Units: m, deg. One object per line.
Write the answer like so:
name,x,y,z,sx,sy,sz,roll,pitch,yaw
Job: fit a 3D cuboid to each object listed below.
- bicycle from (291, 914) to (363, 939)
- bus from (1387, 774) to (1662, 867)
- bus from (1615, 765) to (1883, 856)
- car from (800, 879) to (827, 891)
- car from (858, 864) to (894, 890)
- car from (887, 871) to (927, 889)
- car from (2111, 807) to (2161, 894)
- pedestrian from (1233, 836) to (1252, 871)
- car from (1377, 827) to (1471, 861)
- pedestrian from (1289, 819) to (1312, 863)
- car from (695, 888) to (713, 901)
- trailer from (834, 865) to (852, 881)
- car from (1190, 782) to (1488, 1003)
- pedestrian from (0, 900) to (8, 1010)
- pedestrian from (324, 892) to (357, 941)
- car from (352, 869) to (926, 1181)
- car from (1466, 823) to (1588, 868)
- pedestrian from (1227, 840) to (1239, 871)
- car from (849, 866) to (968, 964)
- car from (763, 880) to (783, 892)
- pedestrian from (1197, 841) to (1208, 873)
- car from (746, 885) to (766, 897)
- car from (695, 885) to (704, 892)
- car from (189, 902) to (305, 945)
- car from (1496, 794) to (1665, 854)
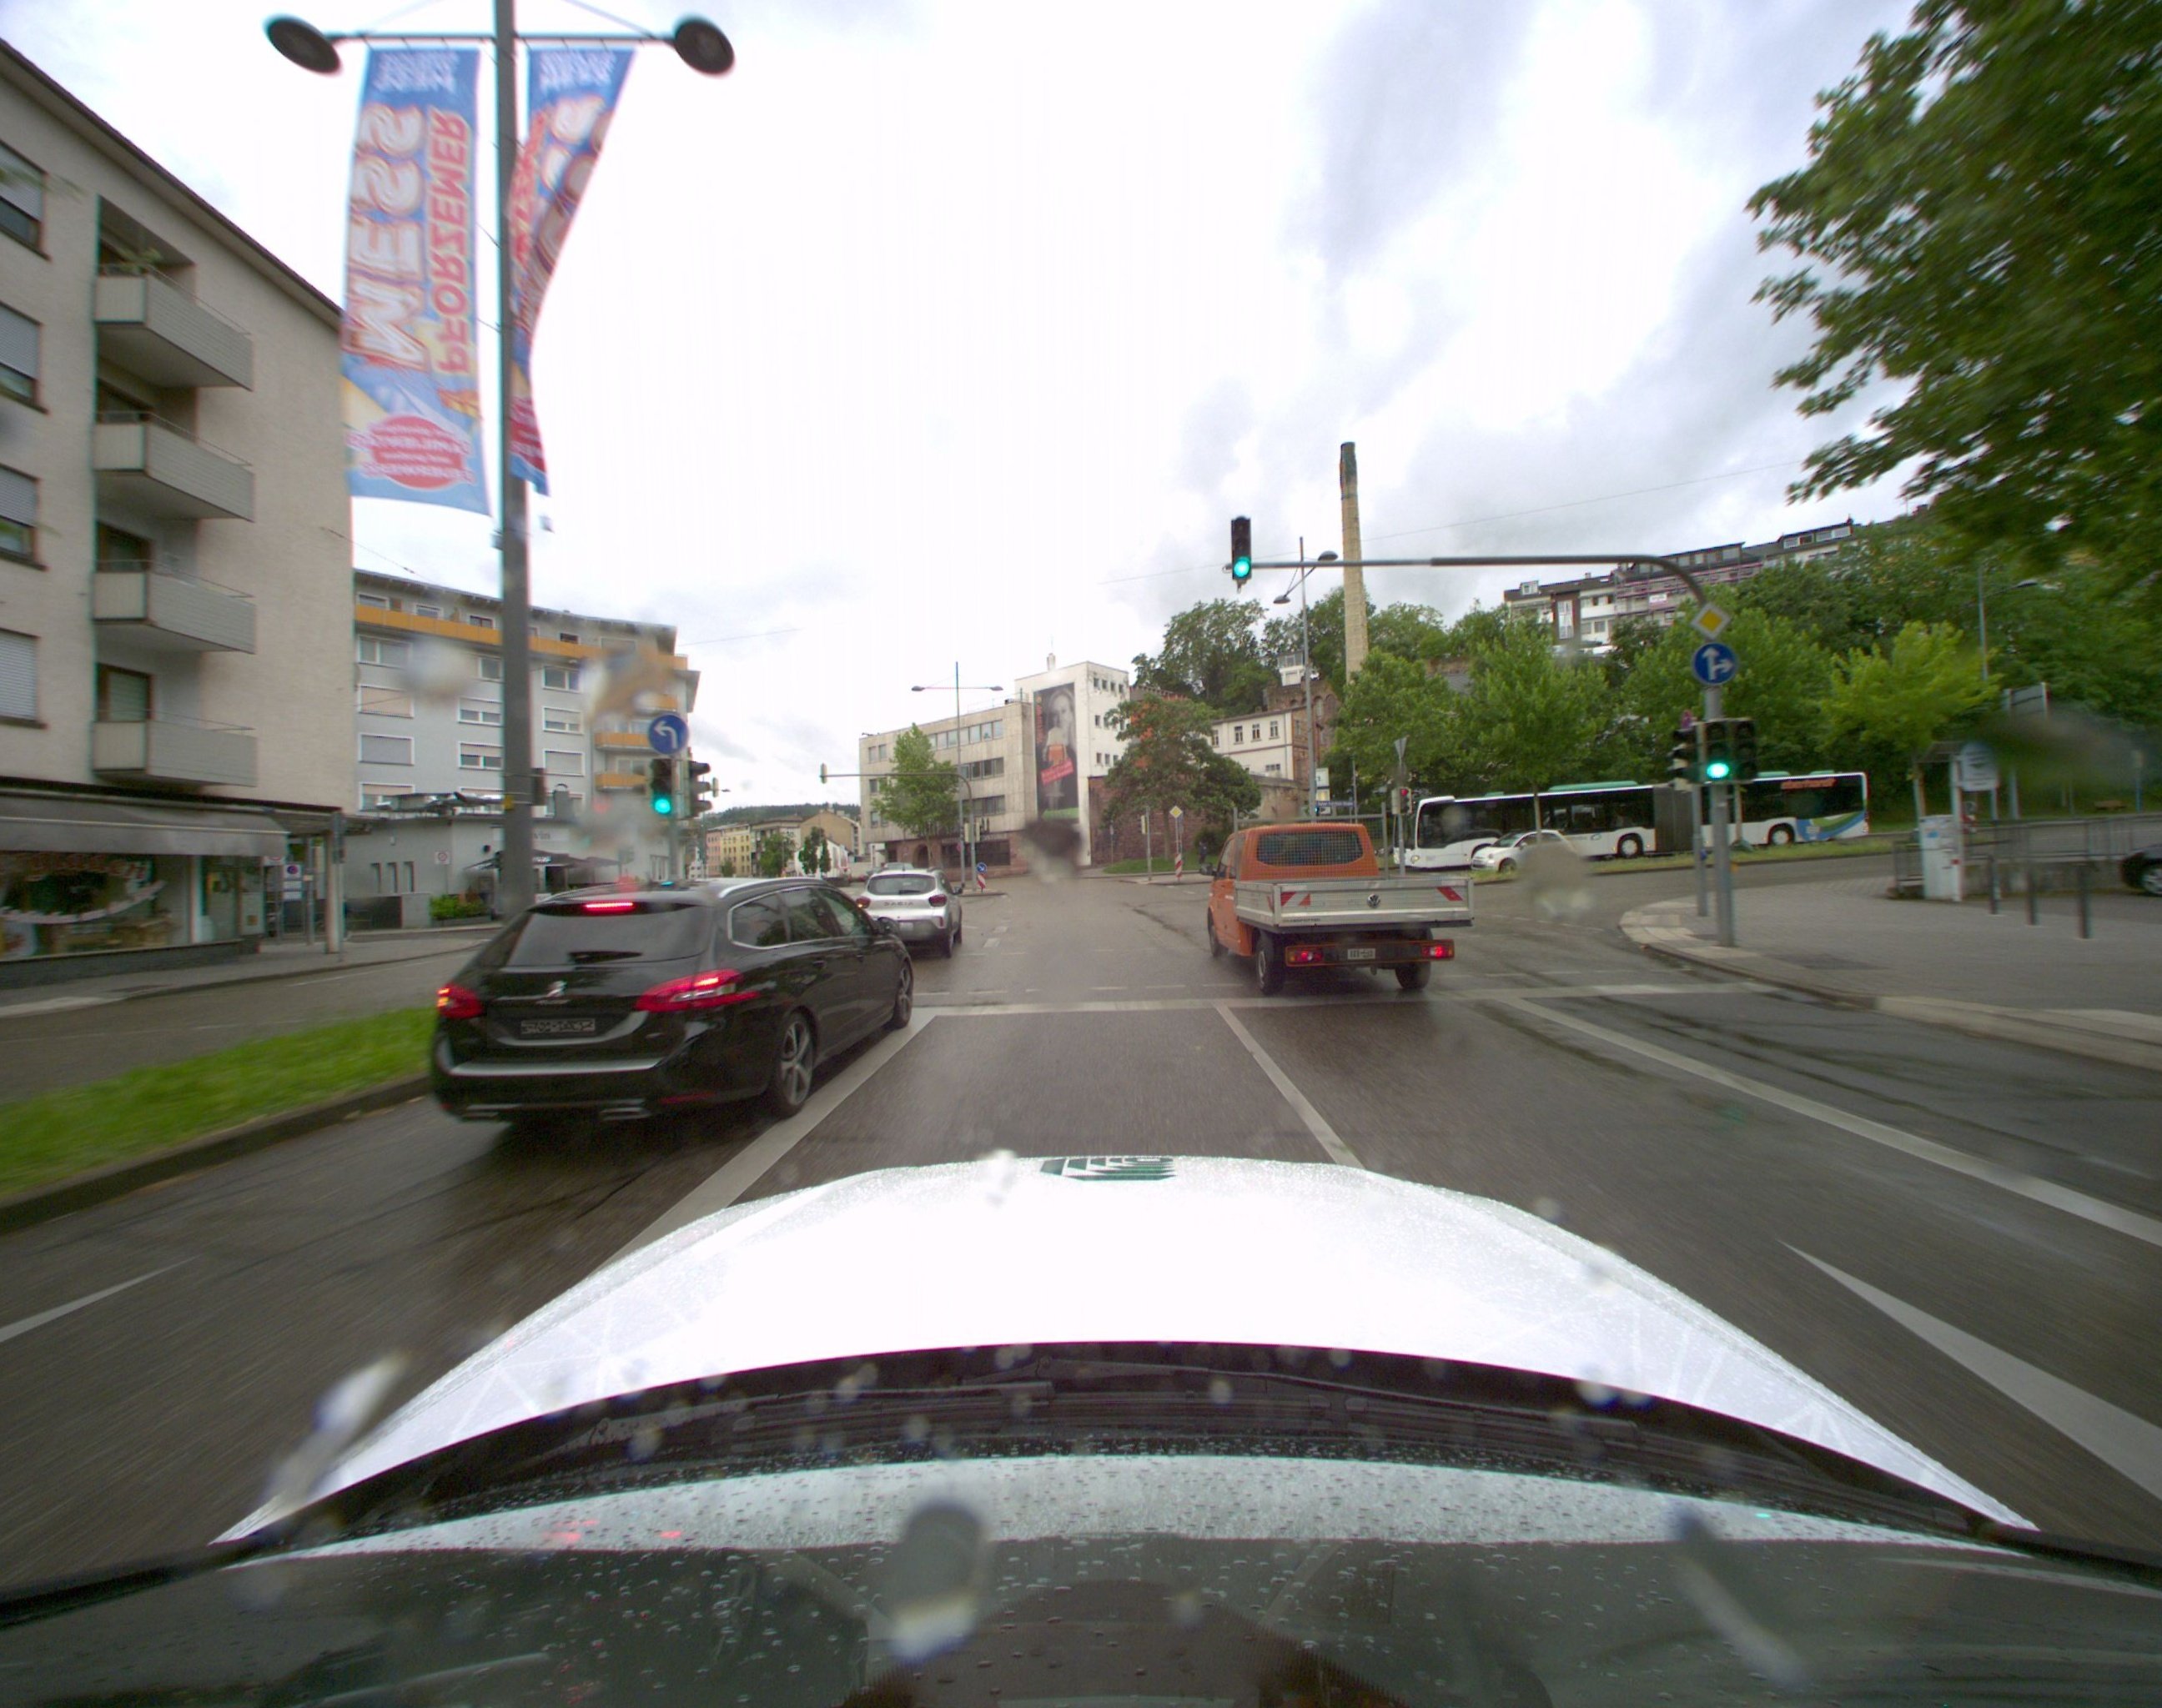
bicycle,-30.950,2.974,33.474,0.613,0.809,2.218,-3,0,11
bus,17.670,-1.327,32.878,9.596,3.216,2.705,-2,1,0
bus,26.702,-1.690,32.857,8.501,3.180,2.689,-2,1,1
car,-32.382,3.702,98.497,1.680,1.396,3.819,-1,0,-43
car,-13.935,1.567,55.213,1.762,1.614,4.180,-3,0,-22
car,-14.412,2.175,67.182,1.802,1.403,4.586,0,-2,-32
car,21.035,-0.120,13.756,1.795,1.613,4.259,-3,0,-2
pedestrian,8.463,-0.017,42.664,0.876,1.831,0.729,-1,-2,3
car,16.697,-0.465,39.873,4.050,1.374,1.804,-4,-1,18
pedestrian,10.433,-0.611,38.658,0.777,2.013,0.592,-4,0,37
car,-44.301,4.807,95.707,1.738,1.366,4.074,-2,-3,-26
trailer,-42.912,3.458,146.658,2.138,2.716,5.345,-4,0,-26
car,2.857,0.435,10.612,2.095,2.089,5.540,-1,-2,0
pedestrian,-17.217,1.581,12.604,0.450,1.731,0.524,1,-1,1
pedestrian,-25.652,2.169,28.221,0.523,1.651,0.604,-2,-4,10
car,-2.513,0.864,6.053,1.793,1.434,4.396,-1,-2,1
car,16.109,-0.300,29.517,3.547,1.451,1.589,-2,1,-1
pedestrian,7.963,0.086,42.673,0.563,1.616,0.692,0,-2,4
car,-2.947,0.974,14.531,1.534,1.461,3.624,-2,-1,-4
car,-41.627,4.289,110.061,1.676,1.396,3.827,-2,0,-32
pedestrian,6.921,0.155,46.274,0.593,1.781,0.658,-1,-2,11
car,-40.052,4.561,100.439,1.743,1.440,4.372,-2,-1,-29
car,-89.502,8.131,191.167,1.730,1.423,4.127,-4,-1,-28
car,-36.059,2.983,35.213,3.954,1.608,1.911,-3,-1,18
car,23.086,-1.341,37.984,6.271,2.234,2.266,-4,-1,18
